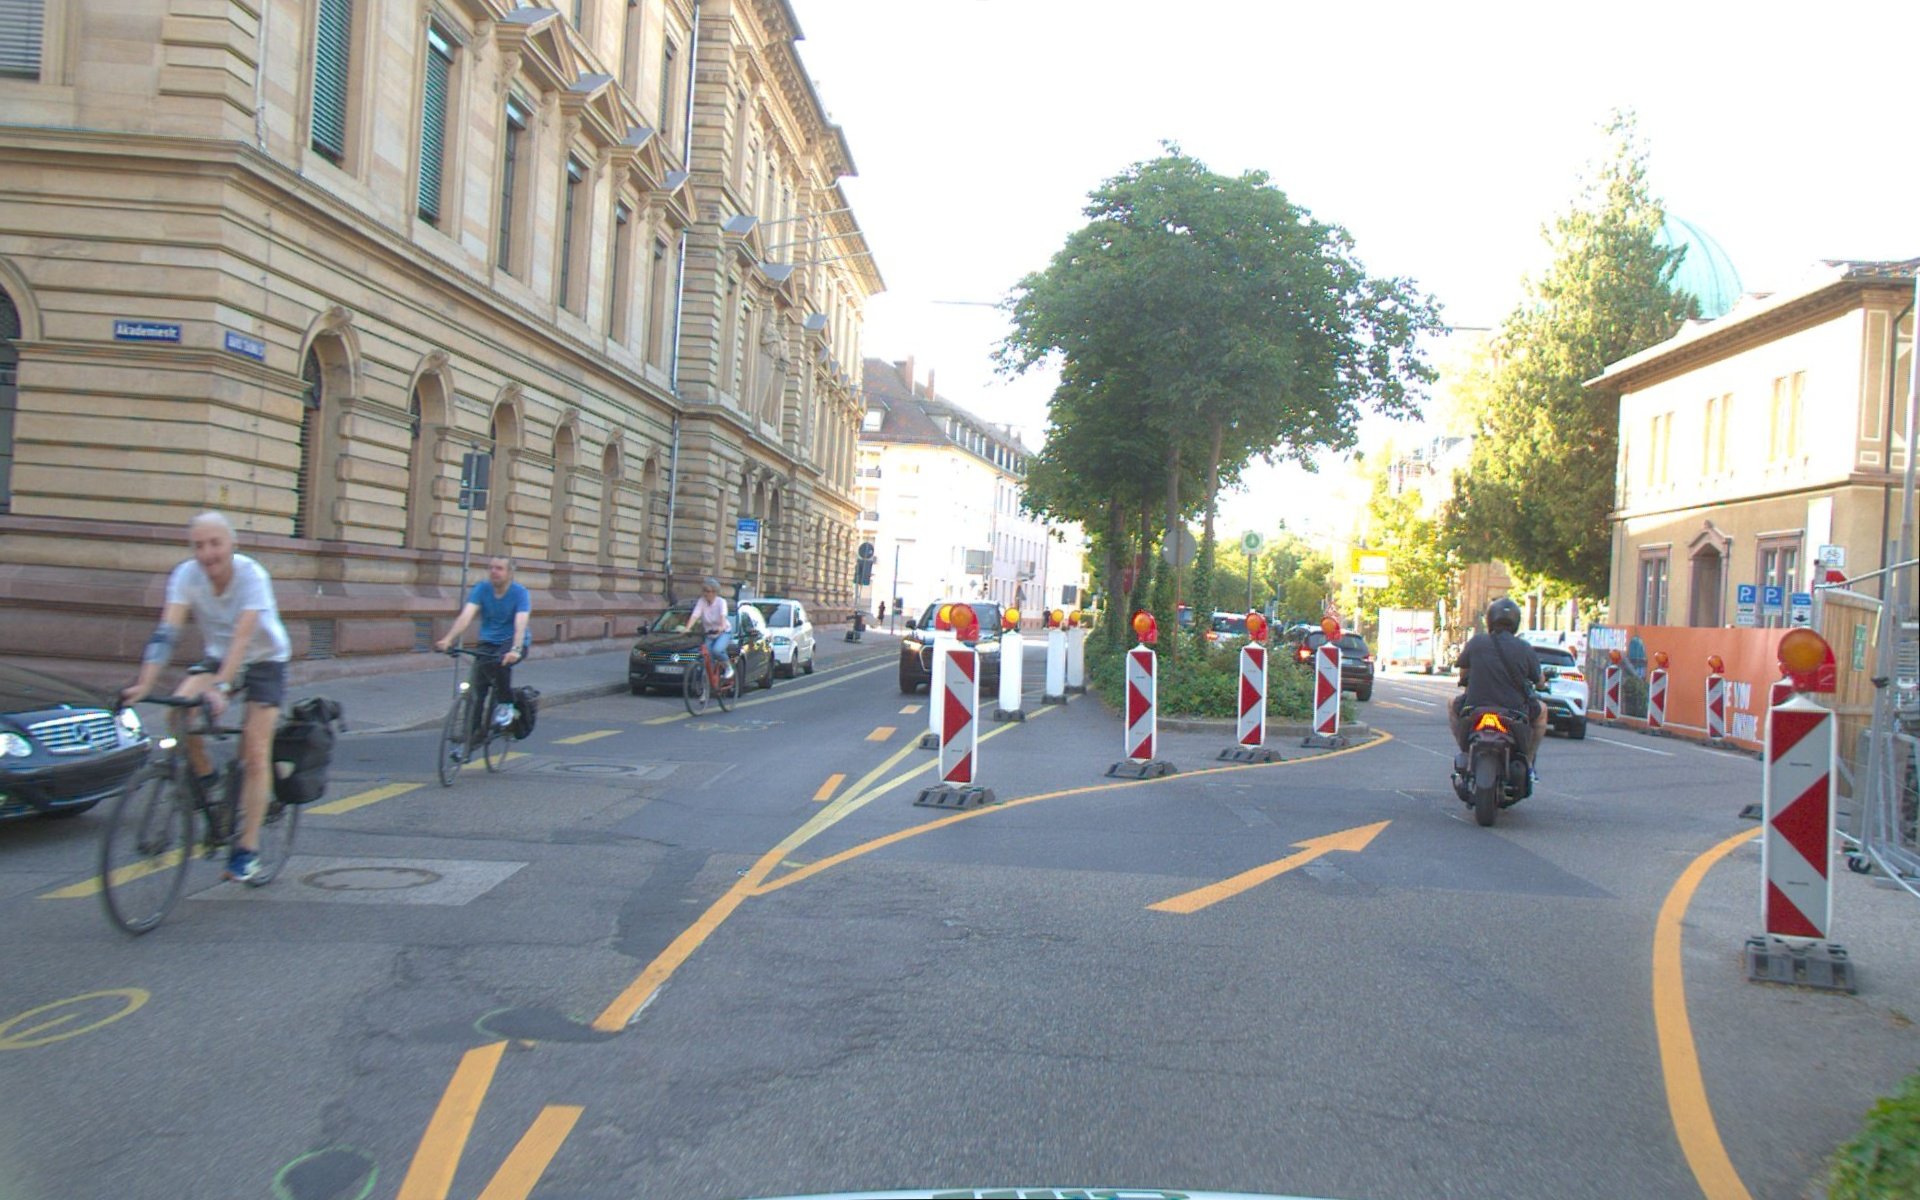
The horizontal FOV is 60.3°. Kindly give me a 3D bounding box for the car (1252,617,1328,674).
[{"bbox_3d":[11.066,1.502,55.760,1.802,1.728,4.058,4,0,2],"label":"car"}]

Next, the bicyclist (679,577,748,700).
[{"bbox_3d":[-3.261,0.502,21.915,0.615,1.581,0.732,2,0,15],"label":"bicyclist"}]

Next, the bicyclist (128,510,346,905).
[{"bbox_3d":[-3.294,0.467,7.603,0.554,1.696,0.834,2,0,1],"label":"bicyclist"}]

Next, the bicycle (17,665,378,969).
[{"bbox_3d":[-3.309,0.877,7.429,0.571,1.053,2.129,2,0,1],"label":"bicycle"}]

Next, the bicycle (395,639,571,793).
[{"bbox_3d":[-3.693,0.865,12.966,0.521,1.053,1.908,2,0,9],"label":"bicycle"}]

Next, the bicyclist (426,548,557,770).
[{"bbox_3d":[-3.636,0.442,12.886,0.615,1.642,0.870,2,0,9],"label":"bicyclist"}]

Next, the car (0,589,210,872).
[{"bbox_3d":[-6.827,0.608,9.478,4.223,1.414,1.777,2,0,4],"label":"car"}]

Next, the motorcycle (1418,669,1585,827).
[{"bbox_3d":[4.270,1.122,12.952,0.782,1.084,1.720,4,0,33],"label":"motorcycle"}]

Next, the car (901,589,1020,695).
[{"bbox_3d":[-0.018,0.708,30.111,1.953,1.724,4.398,2,0,-1],"label":"car"}]

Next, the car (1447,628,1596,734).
[{"bbox_3d":[9.228,1.280,27.485,1.811,1.506,4.061,1,0,11],"label":"car"}]

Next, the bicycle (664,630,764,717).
[{"bbox_3d":[-3.235,0.952,21.922,0.521,1.053,2.037,2,0,15],"label":"bicycle"}]

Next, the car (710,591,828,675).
[{"bbox_3d":[-3.882,0.634,34.209,1.953,1.555,4.183,2,0,-1],"label":"car"}]

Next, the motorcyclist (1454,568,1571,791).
[{"bbox_3d":[4.388,0.620,13.126,0.646,1.679,0.649,4,-1,33],"label":"motorcyclist"}]

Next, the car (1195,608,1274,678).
[{"bbox_3d":[8.481,1.289,51.356,1.802,1.945,4.058,4,0,2],"label":"car"}]

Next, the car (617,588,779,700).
[{"bbox_3d":[-4.162,0.659,26.925,1.953,1.594,4.288,2,0,-1],"label":"car"}]

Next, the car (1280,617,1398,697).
[{"bbox_3d":[8.131,1.186,35.809,1.802,1.489,4.059,4,0,4],"label":"car"}]

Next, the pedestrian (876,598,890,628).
[{"bbox_3d":[-4.099,0.676,87.725,0.652,1.580,0.649,2,0,-1],"label":"pedestrian"}]
